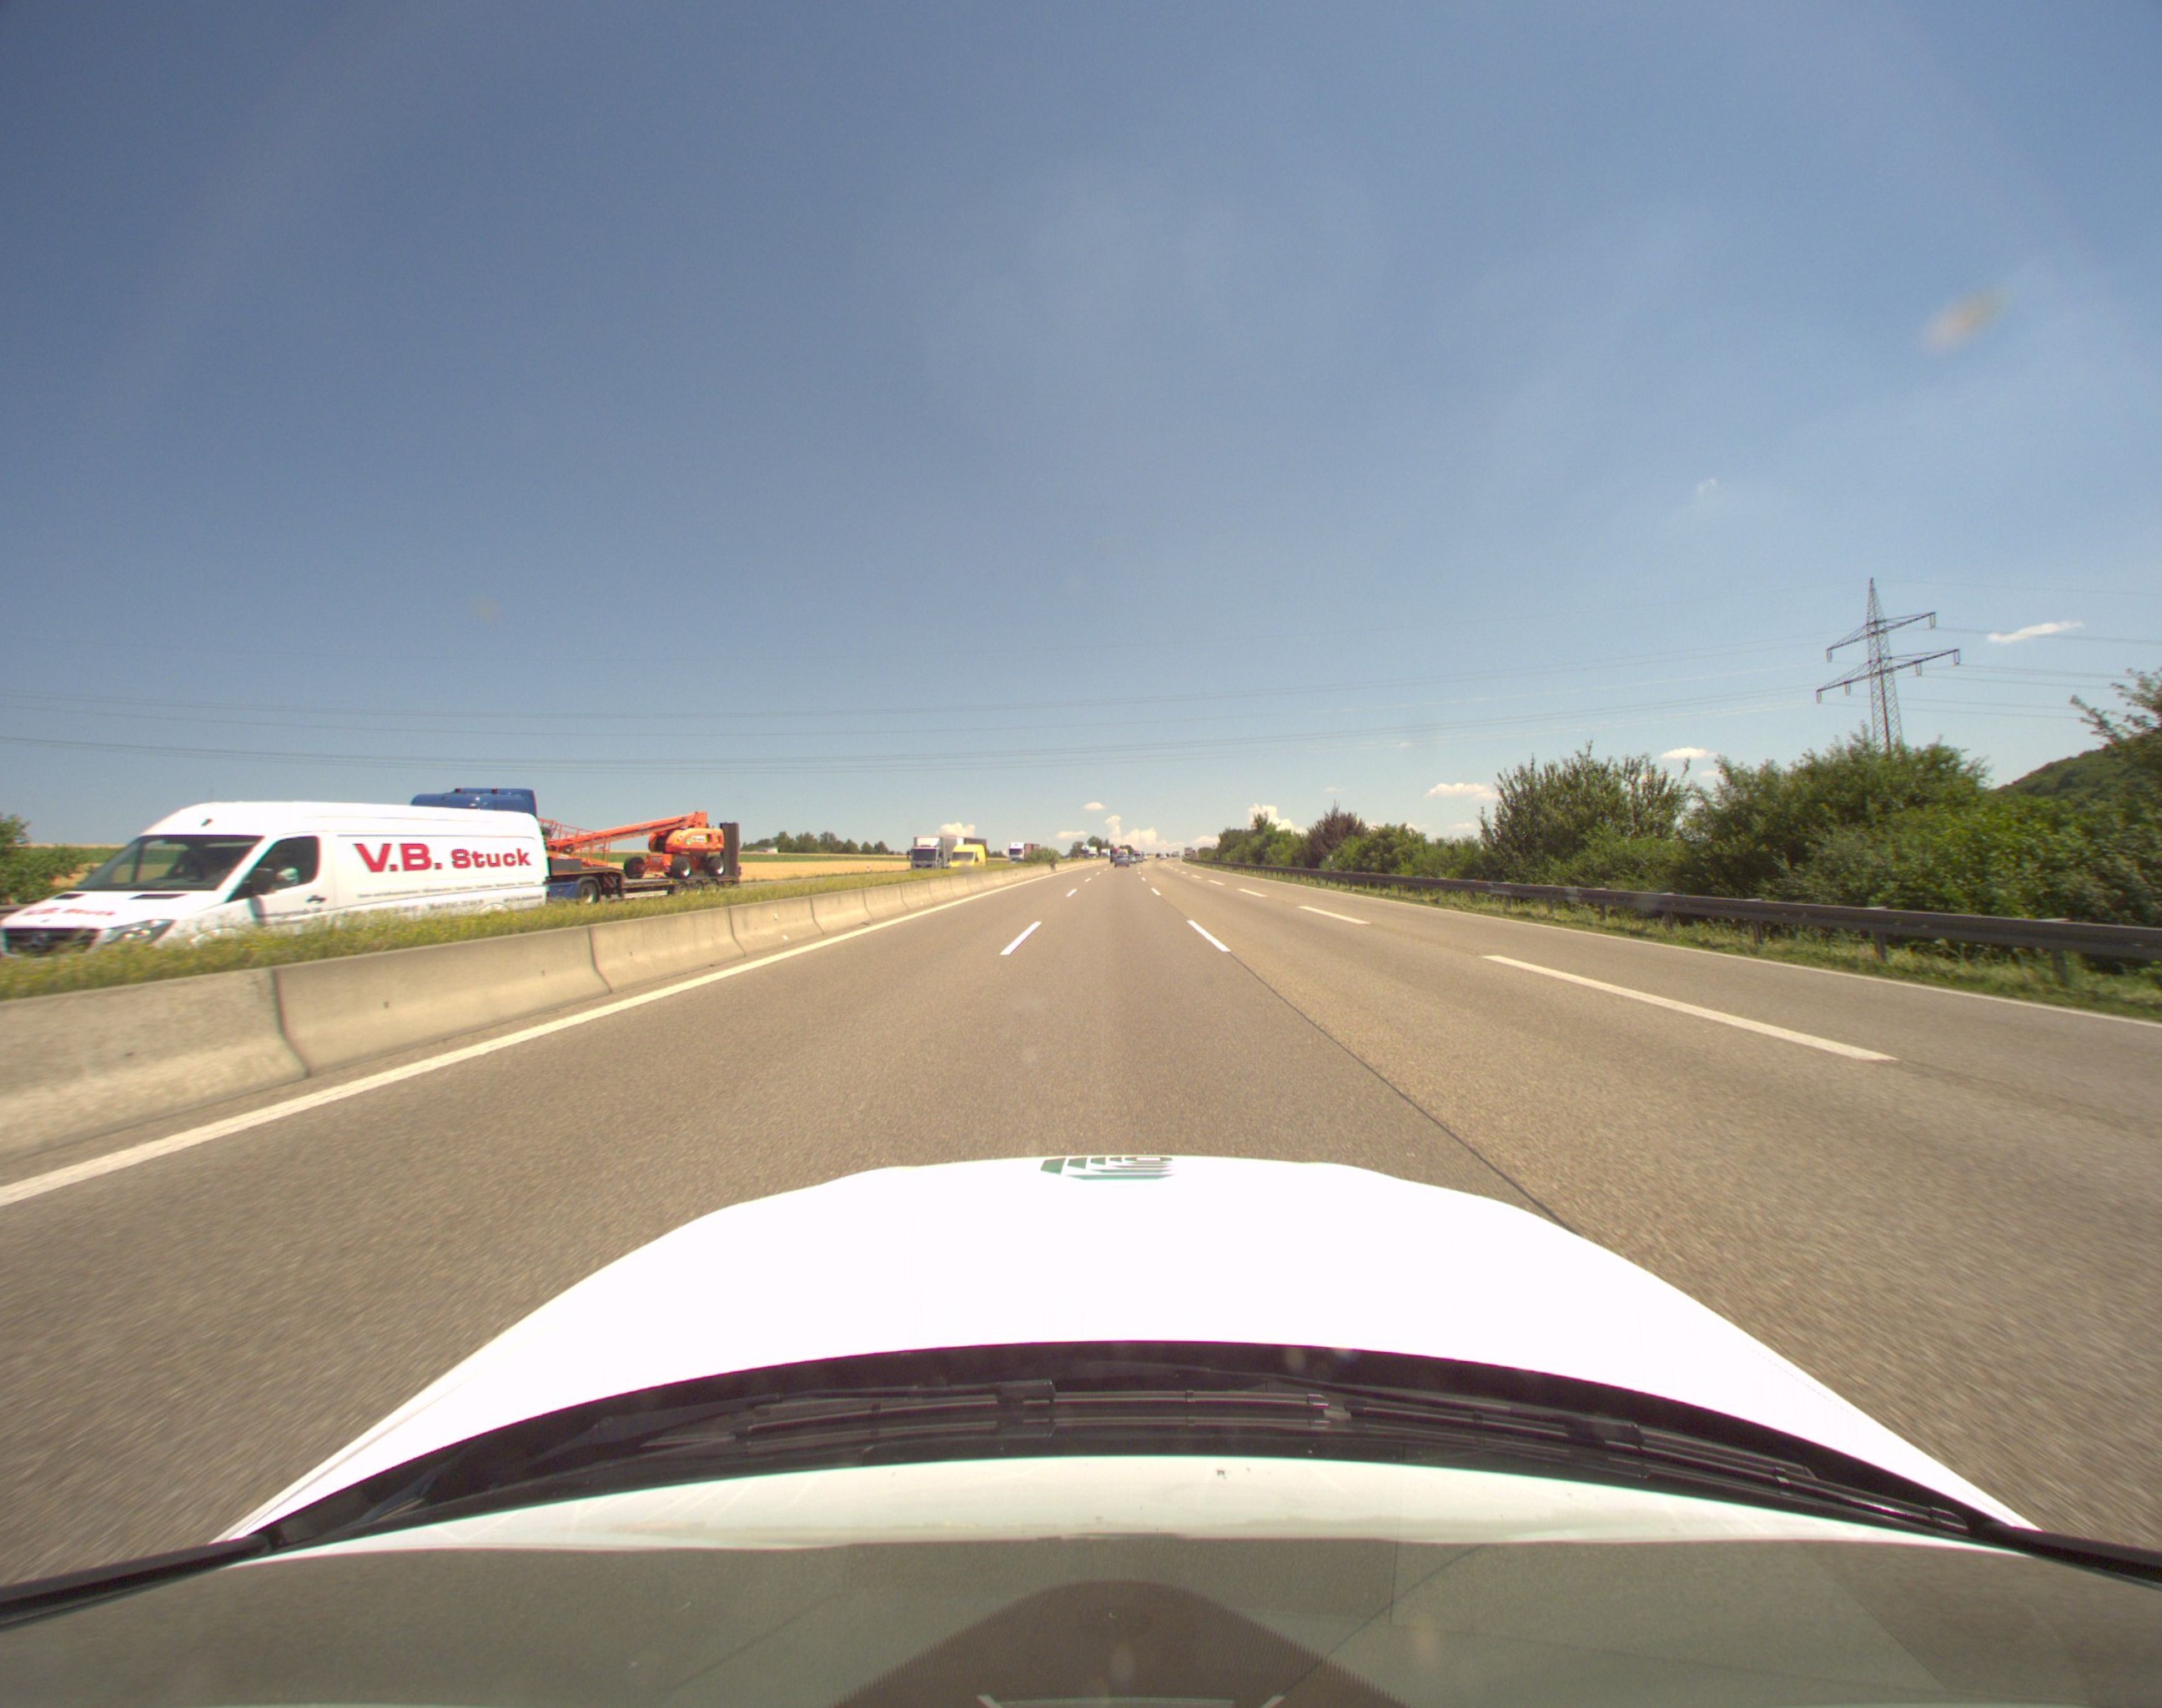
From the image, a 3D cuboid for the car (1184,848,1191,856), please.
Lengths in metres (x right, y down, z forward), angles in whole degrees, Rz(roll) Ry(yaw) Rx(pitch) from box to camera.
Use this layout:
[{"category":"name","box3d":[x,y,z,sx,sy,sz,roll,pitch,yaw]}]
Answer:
[{"category":"car","box3d":[31.195,-0.575,237.657,1.982,2.301,6.276,-1,0,8]}]

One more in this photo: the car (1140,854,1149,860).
[{"category":"car","box3d":[15.245,0.718,195.636,1.984,1.552,4.005,1,0,5]}]

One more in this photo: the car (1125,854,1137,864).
[{"category":"car","box3d":[8.440,0.927,137.512,1.984,1.585,4.004,-2,-1,4]}]

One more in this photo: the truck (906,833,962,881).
[{"category":"truck","box3d":[-12.218,0.205,68.277,2.924,3.743,7.784,0,0,3]}]

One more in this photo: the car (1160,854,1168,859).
[{"category":"car","box3d":[22.691,0.729,223.136,1.891,1.442,4.009,-1,0,8]}]

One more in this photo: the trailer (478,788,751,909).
[{"category":"trailer","box3d":[-18.149,-0.167,33.647,2.827,3.958,13.736,0,0,3]}]

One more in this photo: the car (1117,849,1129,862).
[{"category":"car","box3d":[9.011,0.373,173.844,2.169,2.625,4.679,-1,-3,6]}]

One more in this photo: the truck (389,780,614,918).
[{"category":"truck","box3d":[-18.399,-0.142,26.446,2.766,3.938,6.140,-1,0,2]}]

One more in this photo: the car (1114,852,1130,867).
[{"category":"car","box3d":[5.254,0.760,104.385,1.986,1.750,4.001,0,-3,2]}]

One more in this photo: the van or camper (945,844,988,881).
[{"category":"van or camper","box3d":[-8.691,0.622,62.581,2.075,2.707,6.144,-1,0,3]}]

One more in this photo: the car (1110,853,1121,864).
[{"category":"car","box3d":[6.612,0.834,156.005,1.838,1.861,4.213,-1,1,6]}]

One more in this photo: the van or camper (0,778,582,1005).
[{"category":"van or camper","box3d":[-11.327,0.443,12.811,2.060,2.463,7.522,-2,0,2]}]

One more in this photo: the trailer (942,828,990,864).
[{"category":"trailer","box3d":[-13.975,-0.863,100.554,2.780,4.105,14.024,-1,0,5]}]

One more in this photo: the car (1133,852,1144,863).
[{"category":"car","box3d":[11.274,0.721,159.550,1.984,1.904,4.004,-1,-3,4]}]

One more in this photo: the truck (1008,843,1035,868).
[{"category":"truck","box3d":[-10.347,0.310,142.916,2.873,4.171,10.637,-1,0,5]}]

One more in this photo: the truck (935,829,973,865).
[{"category":"truck","box3d":[-14.597,-0.786,93.802,2.839,4.027,6.523,-1,0,5]}]
